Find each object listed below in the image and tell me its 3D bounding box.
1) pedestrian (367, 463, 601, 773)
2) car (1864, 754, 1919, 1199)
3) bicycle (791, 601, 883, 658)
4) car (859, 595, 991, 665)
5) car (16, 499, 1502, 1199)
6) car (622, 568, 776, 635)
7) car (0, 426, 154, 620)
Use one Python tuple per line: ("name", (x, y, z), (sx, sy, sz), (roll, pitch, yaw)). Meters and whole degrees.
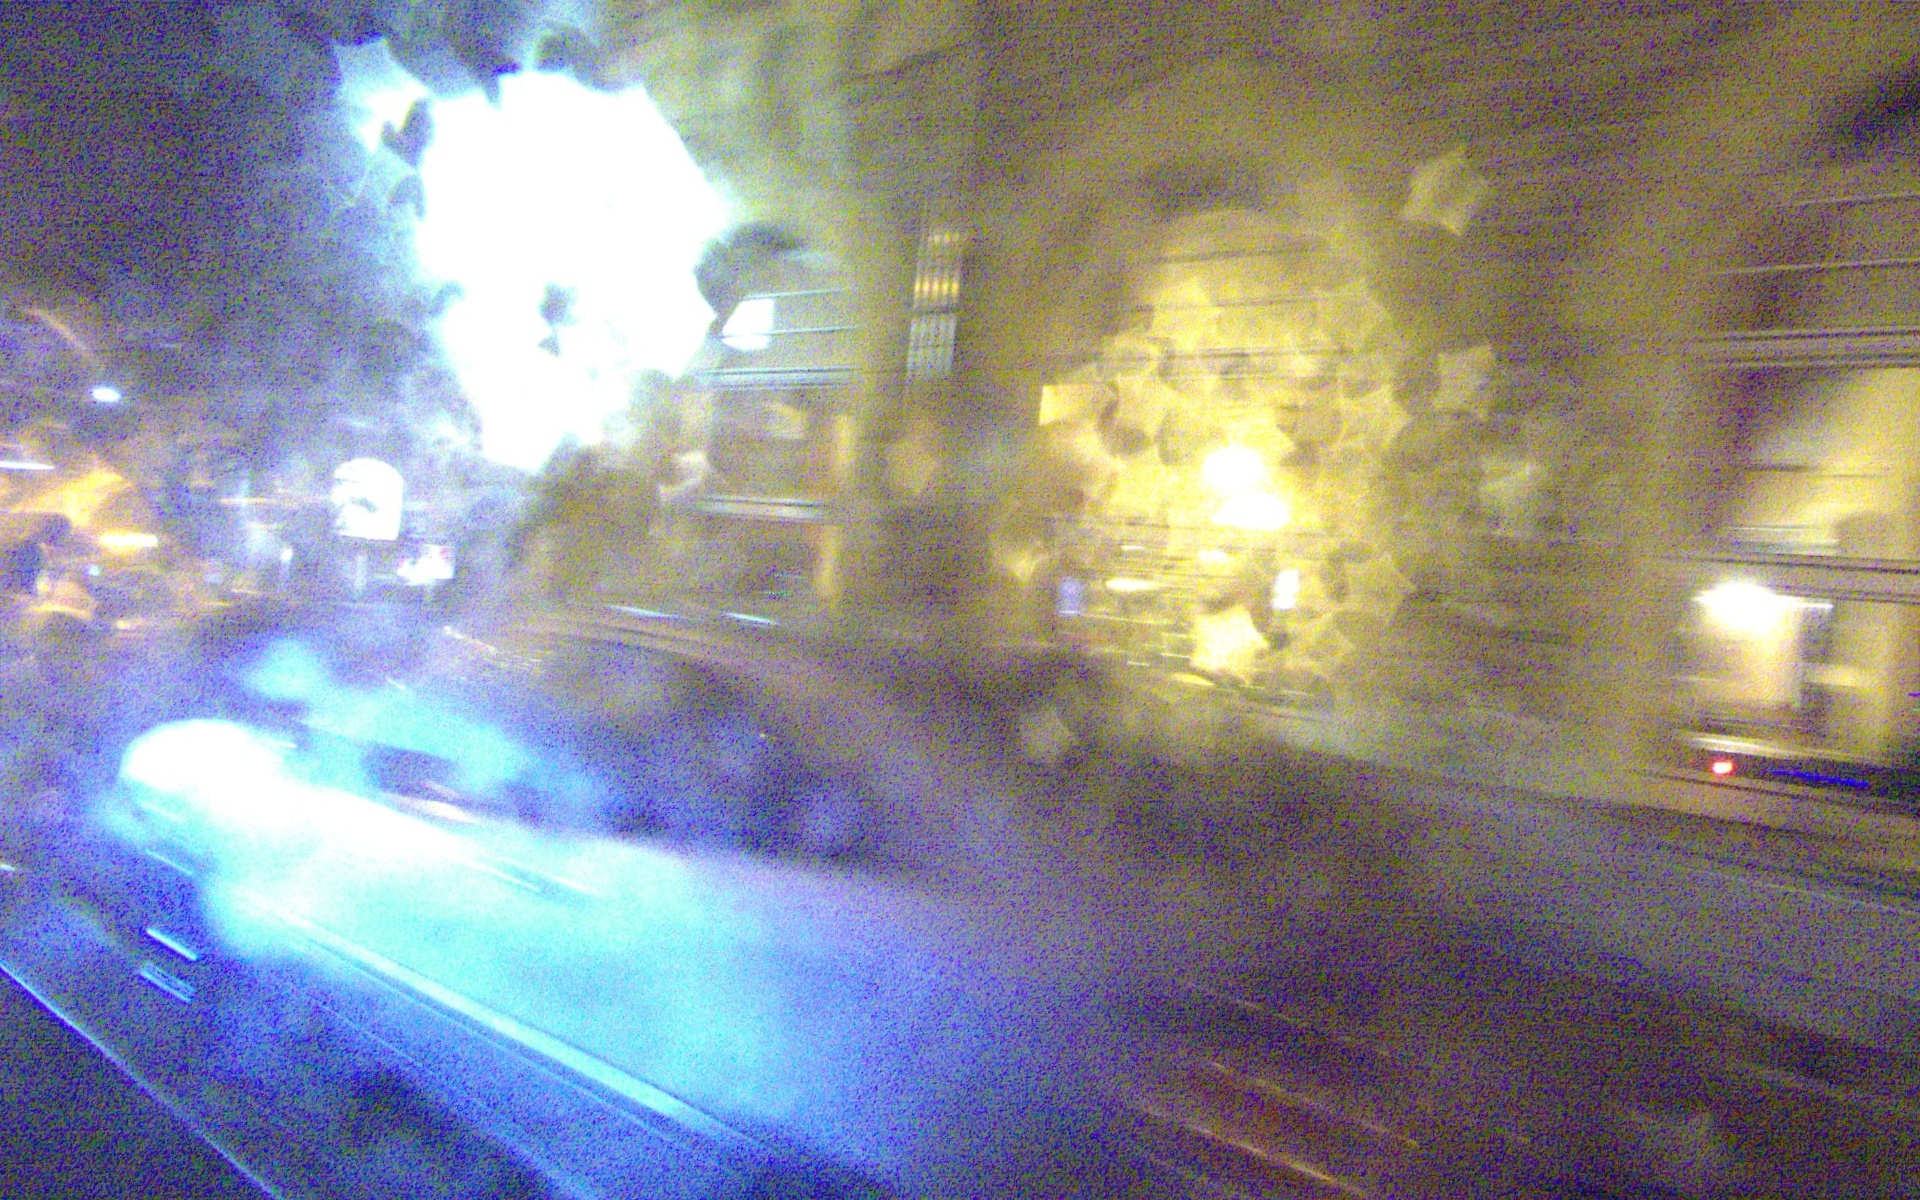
("pedestrian", (-3.135, 0.088, 6.620), (1.065, 1.812, 0.862), (8, 3, 35))
("car", (3.095, 1.010, 0.339), (3.826, 1.517, 1.691), (6, 0, 31))
("bicycle", (-2.717, 0.637, 22.091), (1.953, 1.021, 0.701), (6, -2, 36))
("car", (-0.825, 0.798, 25.669), (1.584, 1.476, 3.408), (7, 0, 33))
("car", (-0.739, 0.642, 2.966), (3.933, 1.429, 1.919), (6, 0, 31))
("car", (-7.530, 0.089, 29.487), (1.740, 1.521, 4.416), (7, 0, 28))
("car", (-11.290, -0.931, 10.693), (1.968, 2.074, 4.687), (7, 0, -8))
